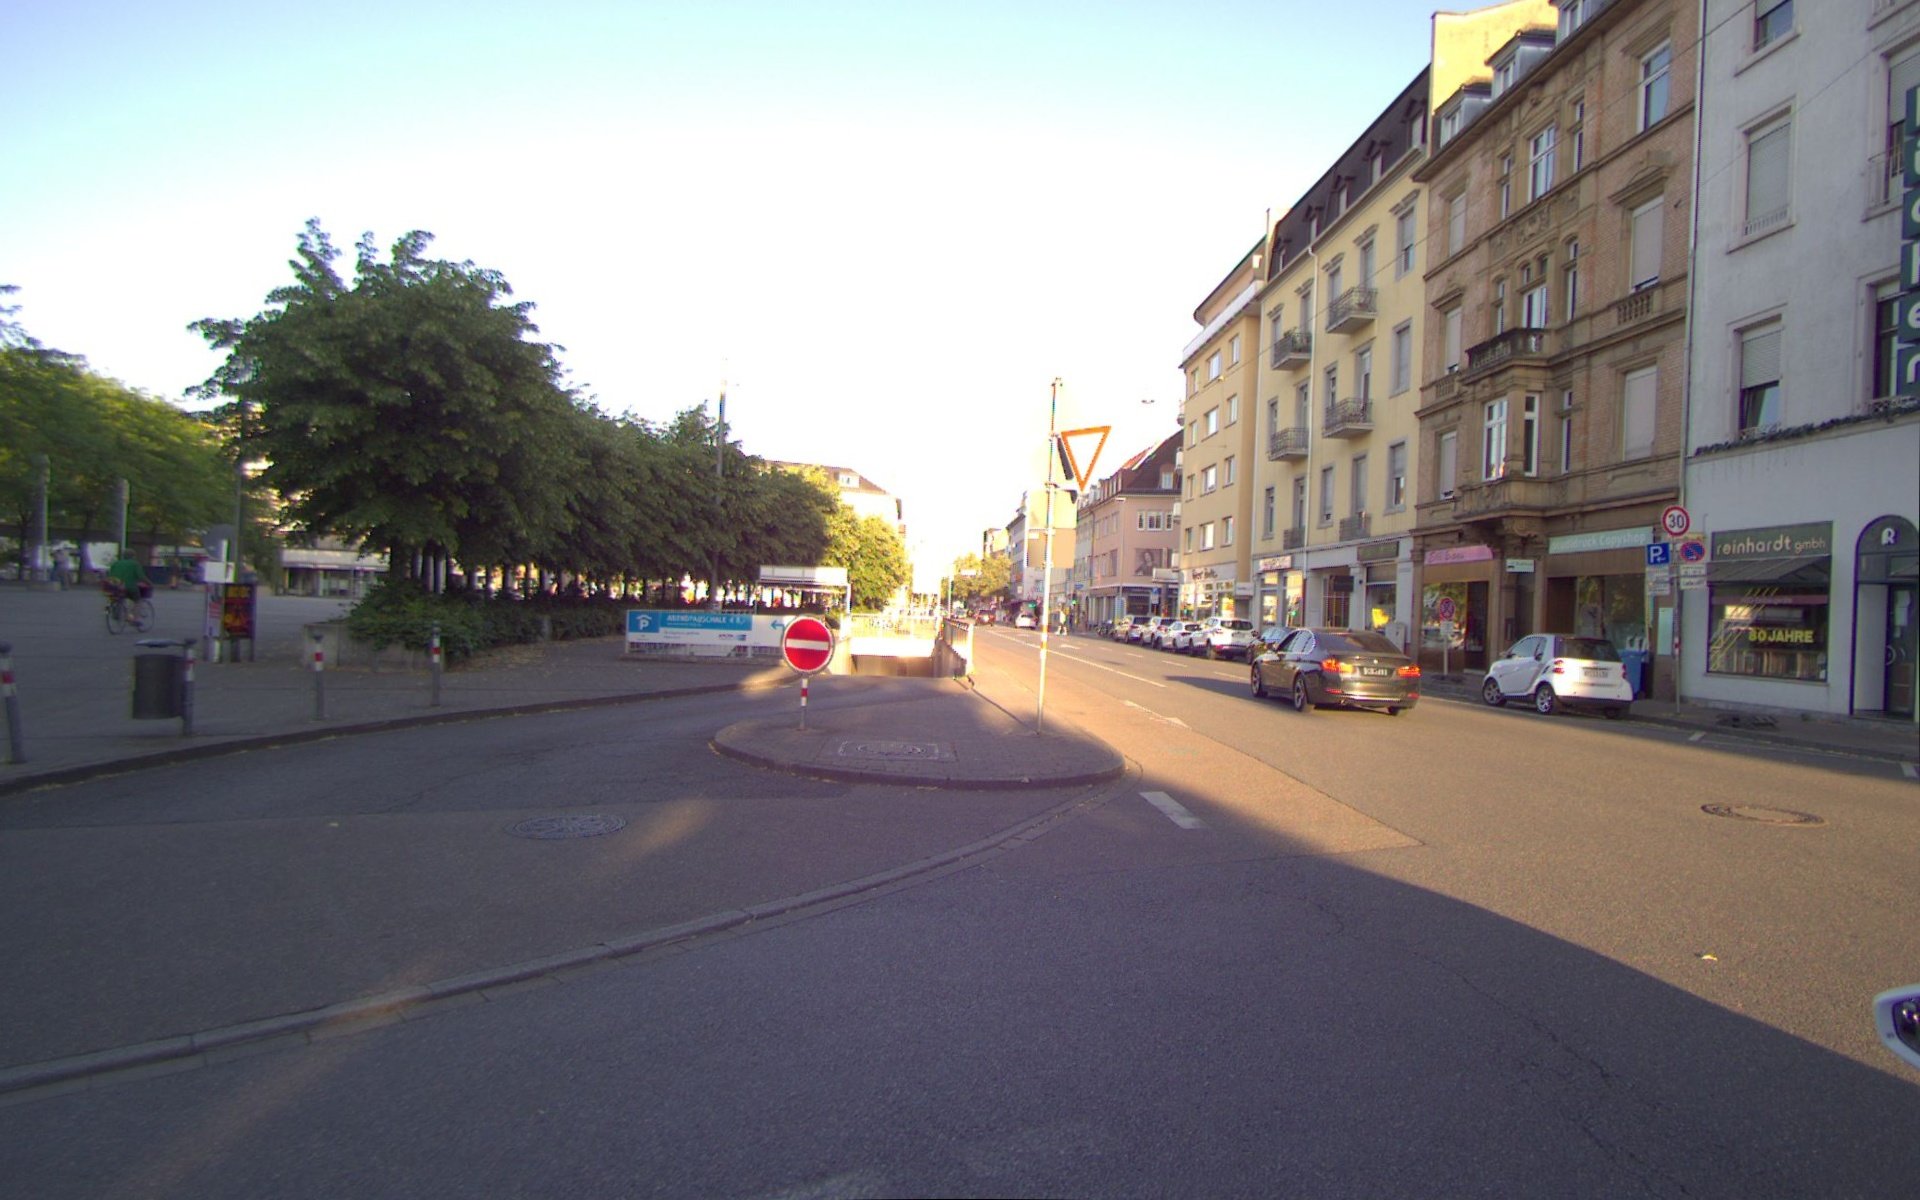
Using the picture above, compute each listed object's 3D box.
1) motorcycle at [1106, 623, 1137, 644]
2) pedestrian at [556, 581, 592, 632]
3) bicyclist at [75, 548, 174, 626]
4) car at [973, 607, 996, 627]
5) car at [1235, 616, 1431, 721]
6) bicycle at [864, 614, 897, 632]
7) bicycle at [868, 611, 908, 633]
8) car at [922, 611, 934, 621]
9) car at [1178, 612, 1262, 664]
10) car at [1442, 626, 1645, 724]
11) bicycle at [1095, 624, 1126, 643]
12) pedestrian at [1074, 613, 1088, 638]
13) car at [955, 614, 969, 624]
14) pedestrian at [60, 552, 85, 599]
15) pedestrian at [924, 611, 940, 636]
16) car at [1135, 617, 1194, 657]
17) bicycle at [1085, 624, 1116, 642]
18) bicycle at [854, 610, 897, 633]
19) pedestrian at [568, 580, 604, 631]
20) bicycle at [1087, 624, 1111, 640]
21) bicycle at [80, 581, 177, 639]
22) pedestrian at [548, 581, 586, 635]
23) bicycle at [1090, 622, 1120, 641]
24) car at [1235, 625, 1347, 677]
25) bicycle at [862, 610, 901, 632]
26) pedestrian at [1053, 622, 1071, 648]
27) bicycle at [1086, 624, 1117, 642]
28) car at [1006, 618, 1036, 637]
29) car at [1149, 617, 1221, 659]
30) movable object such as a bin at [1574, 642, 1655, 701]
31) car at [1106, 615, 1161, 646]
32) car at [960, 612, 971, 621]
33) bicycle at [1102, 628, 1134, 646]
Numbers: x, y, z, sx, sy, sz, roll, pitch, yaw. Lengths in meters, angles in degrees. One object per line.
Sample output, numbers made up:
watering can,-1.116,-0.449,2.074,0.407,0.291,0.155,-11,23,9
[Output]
motorcycle,10.128,2.114,63.012,1.784,1.280,0.715,1,0,-6
pedestrian,-15.617,0.270,40.656,0.896,2.040,0.919,3,0,20
bicyclist,-17.198,-0.252,20.710,1.362,1.529,0.749,2,0,-24
car,2.352,1.624,97.306,1.961,1.773,3.999,3,-1,-3
car,6.326,1.092,17.610,1.857,1.511,4.205,3,-1,1
bicycle,-5.140,1.472,64.764,2.011,0.983,0.635,5,-1,-5
bicycle,-4.561,1.391,63.525,2.393,1.253,0.517,4,0,-5
car,-5.443,2.754,170.260,1.863,1.617,3.999,3,-1,-1
car,10.308,1.463,40.177,1.852,1.768,4.657,3,1,-3
car,11.803,1.447,20.670,1.672,1.606,3.998,2,1,-2
bicycle,9.772,2.147,65.056,1.855,1.127,0.593,3,-2,-6
pedestrian,8.828,1.872,73.298,0.783,1.743,0.810,3,0,-10
car,0.294,2.967,155.920,1.854,1.505,3.999,3,-1,-1
pedestrian,-38.728,-1.065,43.836,0.724,1.974,0.795,3,0,-39
pedestrian,-1.994,1.677,71.548,0.870,1.743,0.713,3,0,-14
car,10.402,1.855,51.459,1.838,1.785,4.405,3,1,-3
bicycle,9.422,2.210,67.367,1.855,1.183,0.722,2,0,-6
bicycle,-5.241,1.325,61.976,2.461,1.301,0.816,3,0,18
pedestrian,-15.336,0.246,41.207,0.896,2.040,0.919,3,0,20
bicycle,9.503,2.158,68.683,1.477,1.040,0.512,2,0,-7
bicycle,-17.291,0.203,20.965,0.939,1.116,2.314,2,-1,-25
pedestrian,-15.435,0.315,39.479,0.896,2.040,0.919,3,0,20
bicycle,9.577,2.090,66.422,1.855,1.127,0.601,3,0,-6
car,11.104,1.675,34.122,1.961,1.453,4.848,3,-1,-3
bicycle,-5.014,1.355,64.184,2.393,1.253,0.462,3,0,-5
pedestrian,7.124,2.462,70.258,0.861,1.743,0.754,3,0,-28
bicycle,9.602,2.254,68.186,1.855,1.127,0.761,3,0,-6
car,5.562,2.502,92.195,2.296,1.625,3.892,3,-1,-3
car,10.194,1.692,45.860,1.983,1.564,4.867,3,1,-2
movable object such as a bin,14.755,1.596,22.684,0.852,1.202,1.397,2,0,-3
car,9.894,1.726,57.674,1.962,1.634,4.801,3,-1,-4
car,1.157,3.540,215.040,1.865,1.617,3.996,3,-1,-6
bicycle,10.060,2.351,63.947,1.855,1.127,0.593,2,0,-6
